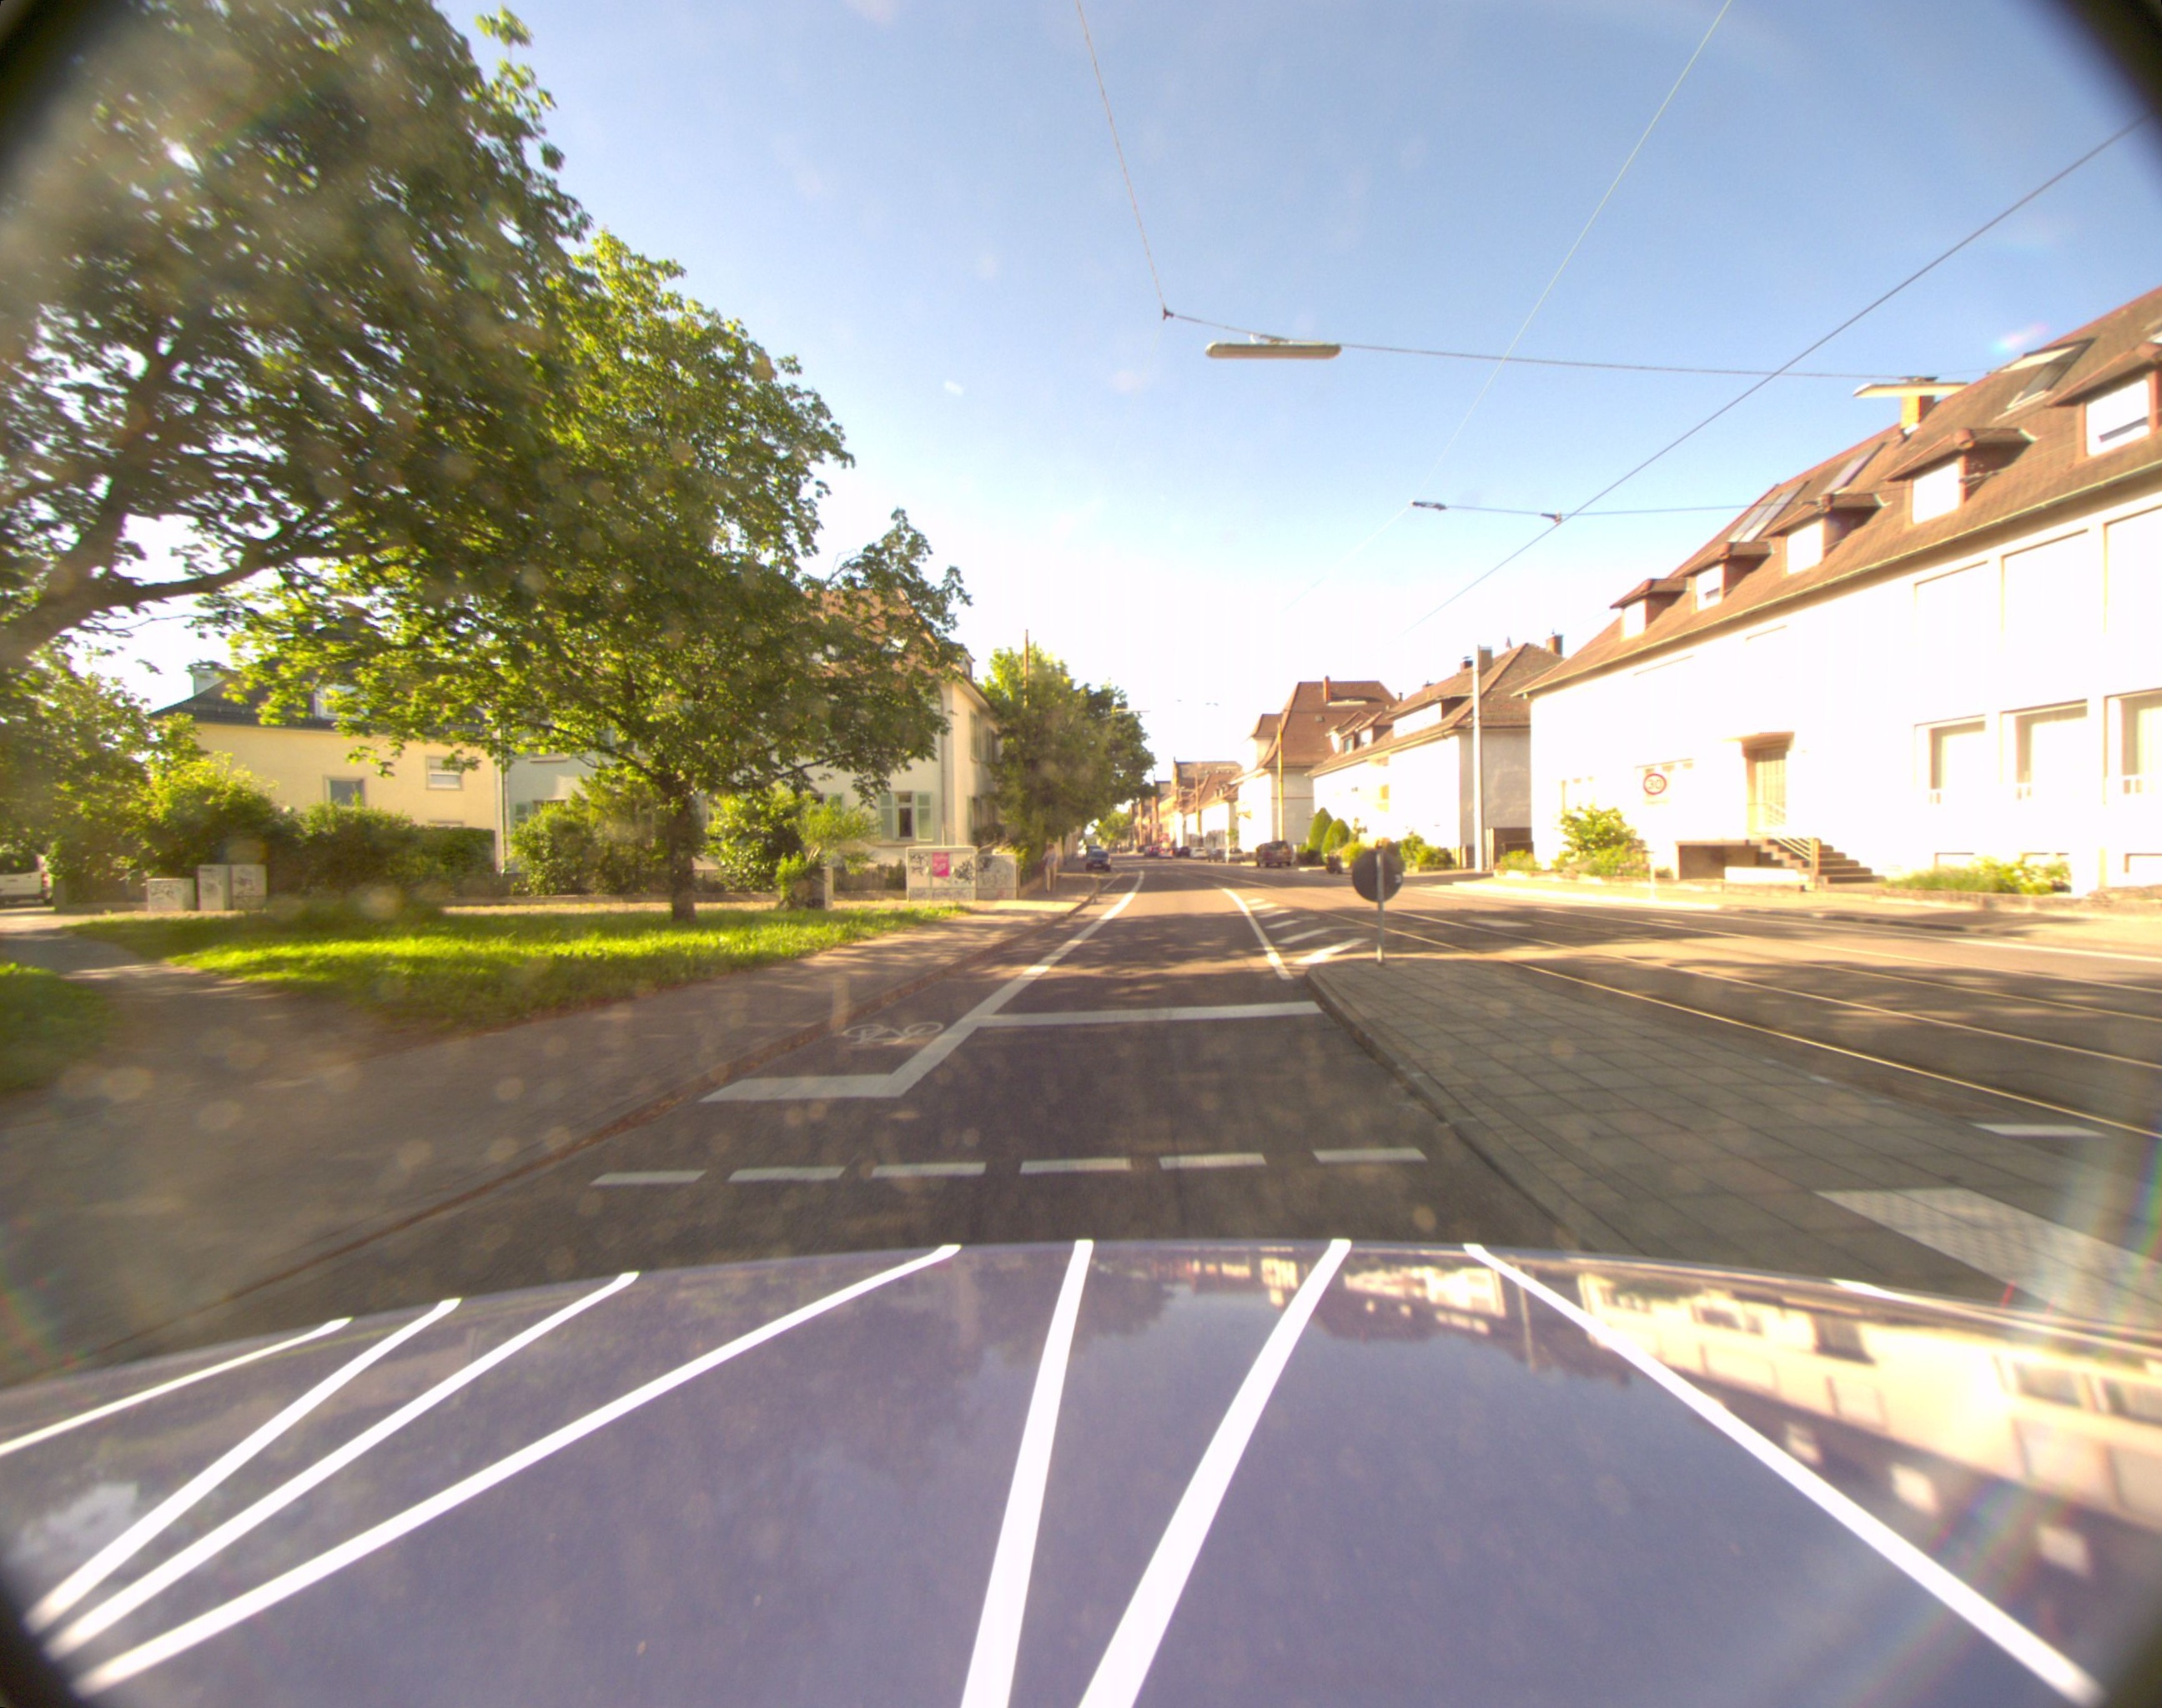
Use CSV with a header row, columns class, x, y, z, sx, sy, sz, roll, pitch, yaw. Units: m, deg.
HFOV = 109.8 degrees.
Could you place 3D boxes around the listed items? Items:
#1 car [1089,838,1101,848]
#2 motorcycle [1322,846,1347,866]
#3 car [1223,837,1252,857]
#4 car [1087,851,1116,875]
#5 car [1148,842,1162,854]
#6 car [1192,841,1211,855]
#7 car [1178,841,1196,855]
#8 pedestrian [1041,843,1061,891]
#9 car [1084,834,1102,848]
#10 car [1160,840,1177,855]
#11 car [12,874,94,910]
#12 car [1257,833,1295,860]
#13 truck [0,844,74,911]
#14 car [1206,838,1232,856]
class,x,y,z,sx,sy,sz,roll,pitch,yaw
car,2.409,-1.912,128.890,1.704,1.541,4.001,-3,1,6
motorcycle,13.811,0.092,41.438,0.605,1.040,2.437,-3,1,3
car,14.549,-0.668,70.937,1.924,1.705,4.000,-3,1,2
car,1.498,0.609,53.614,1.704,1.541,4.001,-3,1,6
car,10.825,-0.892,111.361,1.923,1.705,4.001,-3,1,4
car,14.537,-0.712,92.043,1.923,1.556,4.001,-3,1,4
car,14.865,-0.832,106.780,1.924,1.705,4.000,-3,0,2
pedestrian,-1.064,0.454,27.091,0.655,1.664,0.943,0,1,3
car,1.493,-1.597,93.060,1.704,1.541,4.001,-3,1,6
car,10.725,-0.808,93.294,1.923,1.705,4.001,-3,1,4
car,-47.221,1.713,34.975,3.885,1.462,1.763,0,1,43
car,14.418,-0.557,56.354,1.923,1.890,4.000,-3,1,3
truck,-43.265,0.917,31.108,4.966,2.561,2.004,0,1,41
car,13.913,-0.693,76.972,1.924,1.705,4.000,-3,1,1
